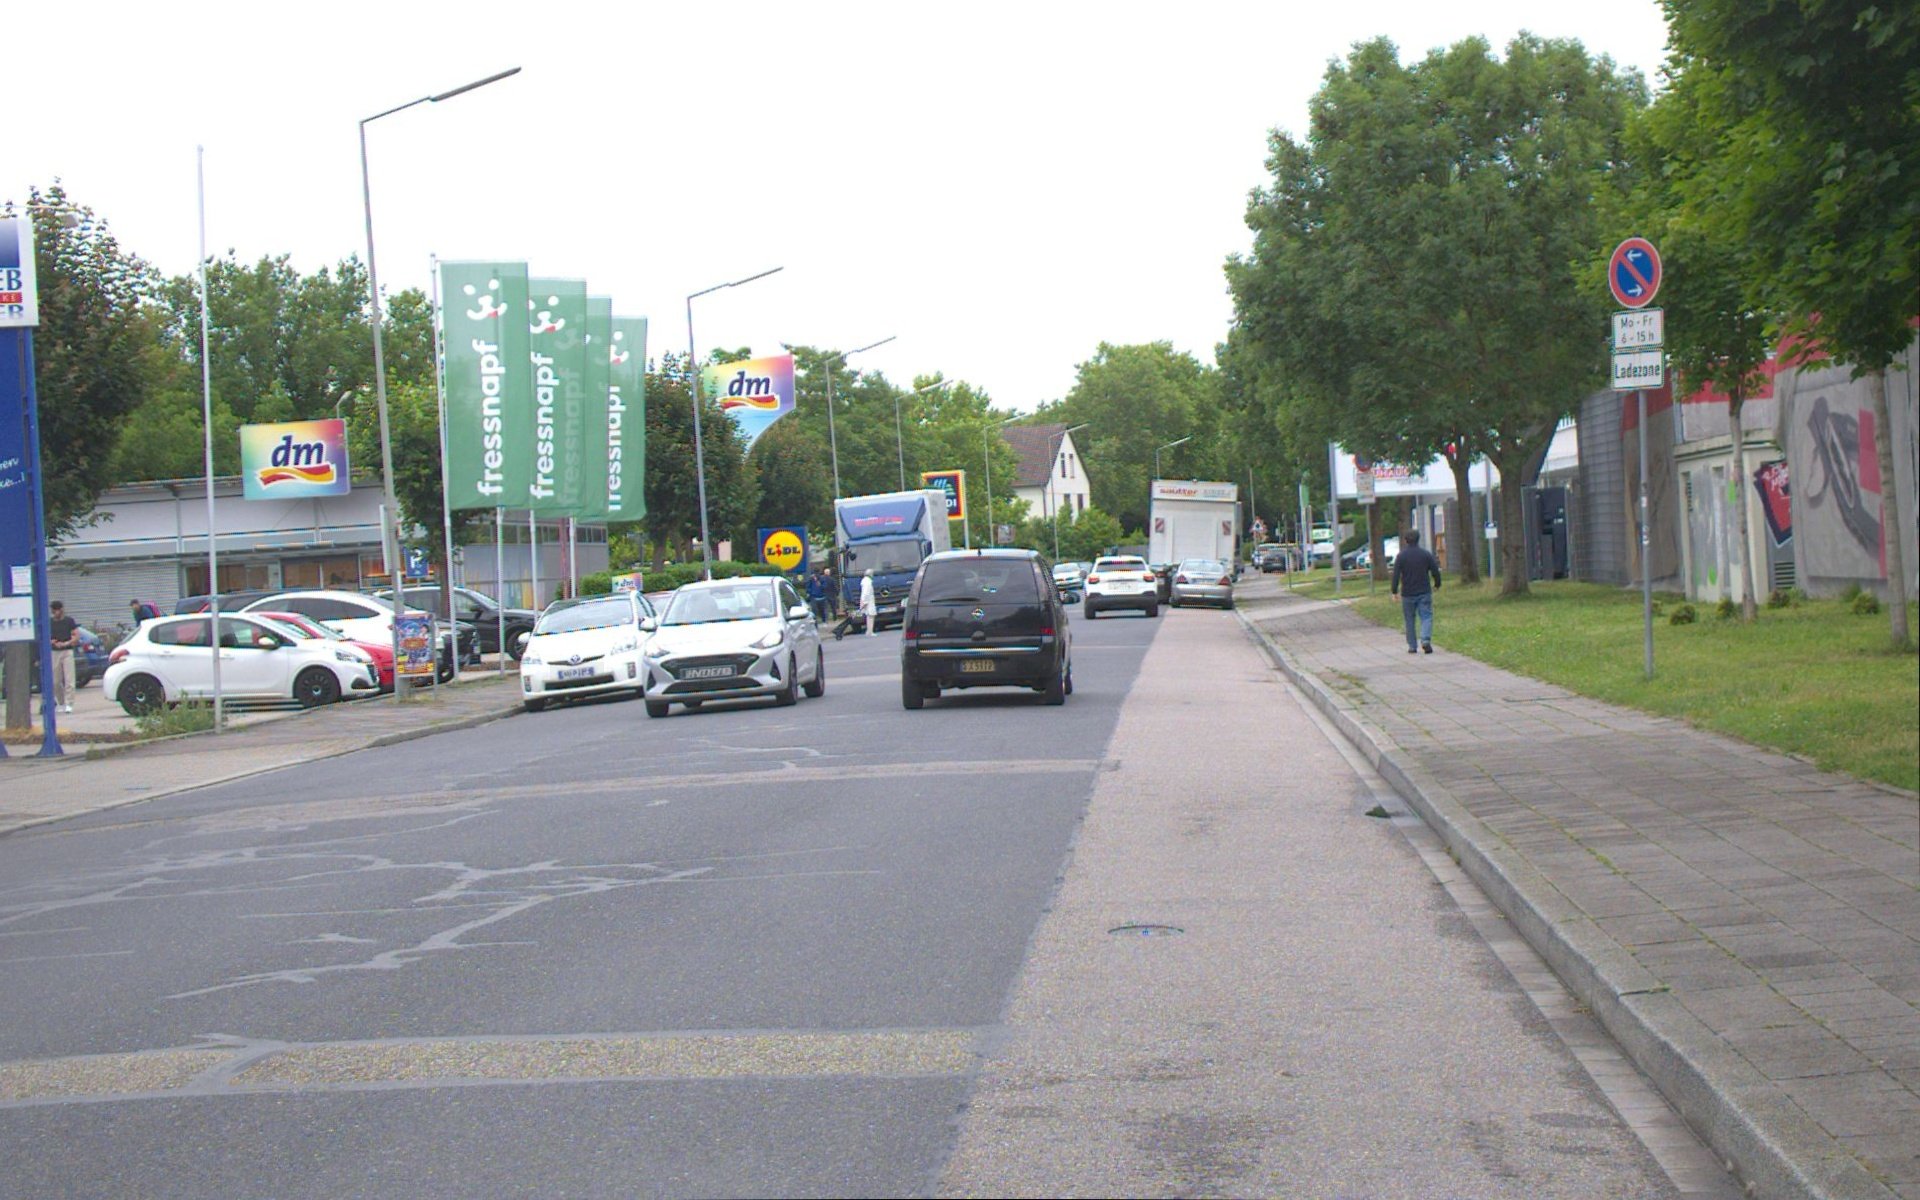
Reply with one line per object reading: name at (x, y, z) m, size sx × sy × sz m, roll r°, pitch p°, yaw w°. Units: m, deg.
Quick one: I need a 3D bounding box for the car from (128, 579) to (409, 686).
car at (-11.192, 0.510, 55.853) m, size 4.135 × 1.458 × 1.899 m, roll -3°, pitch 0°, yaw -1°

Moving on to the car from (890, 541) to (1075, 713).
car at (0.285, 0.247, 36.289) m, size 1.681 × 1.626 × 3.758 m, roll -3°, pitch 1°, yaw 3°

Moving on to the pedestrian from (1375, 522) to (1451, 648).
pedestrian at (6.007, -0.193, 45.618) m, size 0.919 × 1.629 × 0.852 m, roll -2°, pitch 0°, yaw 6°

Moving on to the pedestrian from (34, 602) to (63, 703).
pedestrian at (-14.363, 0.825, 54.164) m, size 0.330 × 1.565 × 0.504 m, roll -2°, pitch 0°, yaw -7°

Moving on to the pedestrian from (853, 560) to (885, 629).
pedestrian at (-2.201, -0.133, 82.928) m, size 0.631 × 1.631 × 0.668 m, roll -3°, pitch 0°, yaw 3°

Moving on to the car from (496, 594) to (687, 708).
car at (-5.111, 0.680, 48.175) m, size 1.898 × 1.362 × 4.000 m, roll -4°, pitch 1°, yaw 4°

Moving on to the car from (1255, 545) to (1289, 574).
car at (18.302, -2.381, 201.799) m, size 1.887 × 1.677 × 4.253 m, roll -1°, pitch 1°, yaw 5°

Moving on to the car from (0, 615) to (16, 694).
car at (-20.371, 1.163, 65.853) m, size 3.987 × 1.487 × 1.786 m, roll -3°, pitch 0°, yaw 5°

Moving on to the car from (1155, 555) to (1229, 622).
car at (6.615, -0.328, 98.313) m, size 1.994 × 1.800 × 4.000 m, roll -2°, pitch 0°, yaw 3°

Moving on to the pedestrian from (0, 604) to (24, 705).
pedestrian at (-14.976, 0.850, 53.993) m, size 0.359 × 1.565 × 0.504 m, roll -3°, pitch 0°, yaw -7°

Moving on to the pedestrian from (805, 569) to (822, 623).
pedestrian at (-4.232, -0.121, 99.282) m, size 0.401 × 1.526 × 0.485 m, roll -4°, pitch 0°, yaw -2°

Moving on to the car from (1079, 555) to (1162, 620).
car at (4.027, -0.336, 85.610) m, size 1.887 × 1.526 × 4.253 m, roll -1°, pitch 1°, yaw 5°

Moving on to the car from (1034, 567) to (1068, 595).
car at (4.645, -0.952, 175.973) m, size 1.542 × 1.361 × 3.428 m, roll -2°, pitch 0°, yaw 4°

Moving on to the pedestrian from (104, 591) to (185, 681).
pedestrian at (-19.288, 0.848, 81.331) m, size 1.383 × 2.007 × 1.210 m, roll -4°, pitch 1°, yaw -36°

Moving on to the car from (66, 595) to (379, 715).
car at (-10.864, 0.797, 50.896) m, size 4.202 × 1.458 × 1.953 m, roll -4°, pitch 1°, yaw -3°

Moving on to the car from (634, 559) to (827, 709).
car at (-2.591, 0.366, 39.508) m, size 1.599 × 1.523 × 3.527 m, roll -5°, pitch 0°, yaw 4°

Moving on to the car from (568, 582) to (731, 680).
car at (-4.902, 0.467, 54.780) m, size 1.898 × 1.362 × 4.000 m, roll -3°, pitch 1°, yaw 4°

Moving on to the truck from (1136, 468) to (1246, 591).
truck at (7.138, -2.118, 107.422) m, size 3.135 × 3.572 × 10.049 m, roll -2°, pitch 0°, yaw 3°

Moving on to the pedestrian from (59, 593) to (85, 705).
pedestrian at (-13.921, 0.766, 53.894) m, size 0.262 × 1.724 × 0.422 m, roll -3°, pitch 0°, yaw -8°

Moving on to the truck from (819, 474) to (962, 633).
truck at (-1.829, -1.270, 93.658) m, size 2.974 × 3.942 × 6.404 m, roll -5°, pitch 1°, yaw 4°

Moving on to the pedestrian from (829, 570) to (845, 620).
pedestrian at (-3.805, -0.154, 106.481) m, size 0.401 × 1.526 × 0.485 m, roll -4°, pitch 0°, yaw -2°
